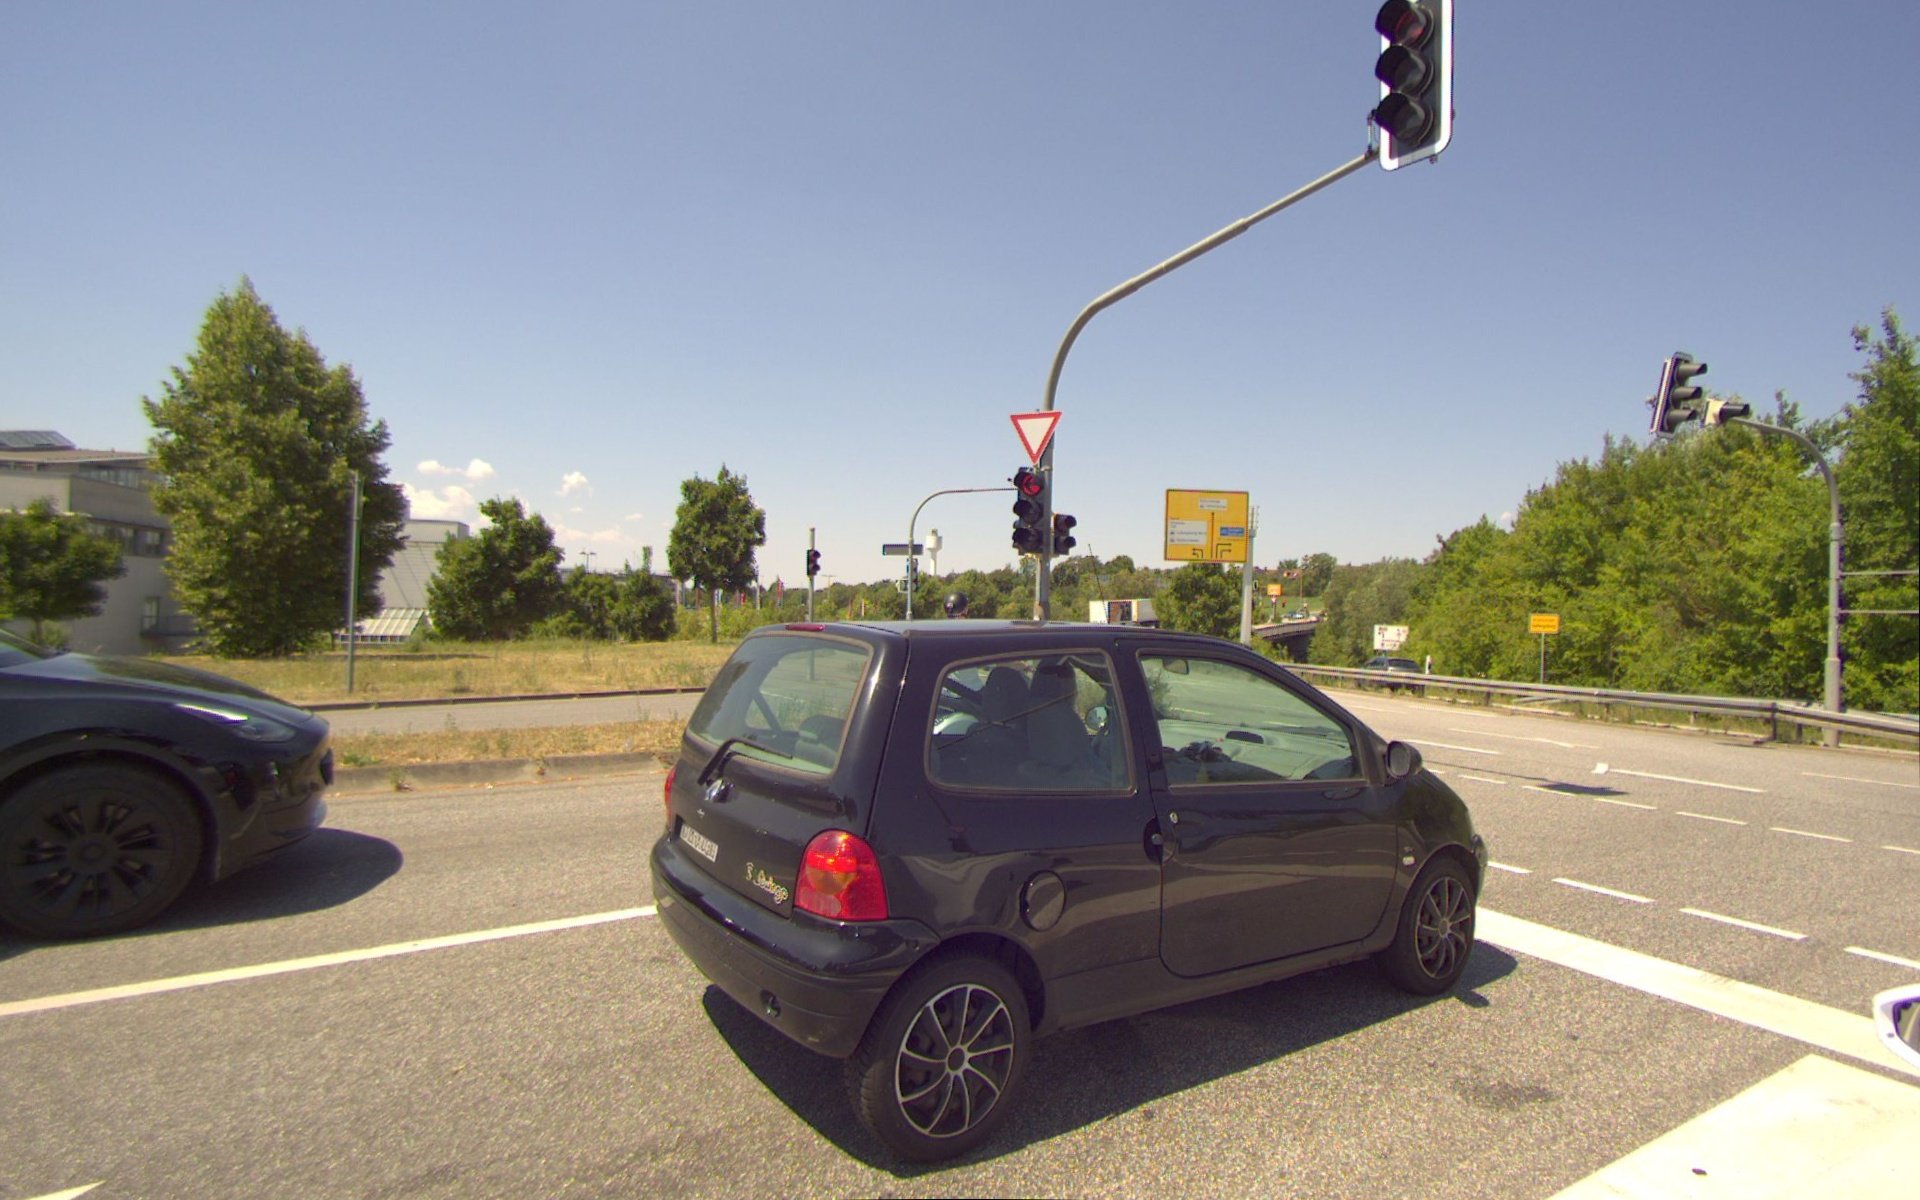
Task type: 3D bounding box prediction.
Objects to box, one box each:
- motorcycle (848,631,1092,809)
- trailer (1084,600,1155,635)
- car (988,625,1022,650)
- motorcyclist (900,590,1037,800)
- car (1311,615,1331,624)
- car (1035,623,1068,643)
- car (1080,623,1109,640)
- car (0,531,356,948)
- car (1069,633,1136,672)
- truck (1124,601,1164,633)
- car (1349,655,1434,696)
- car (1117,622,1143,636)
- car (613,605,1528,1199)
[{"bbox_3d":[0.117,0.912,7.998,1.921,1.255,0.572,3,-1,-34],"label":"motorcycle"},{"bbox_3d":[21.215,2.242,132.087,3.187,4.305,15.364,1,1,33],"label":"trailer"},{"bbox_3d":[3.418,2.833,76.048,1.847,1.755,4.003,1,-1,13],"label":"car"},{"bbox_3d":[0.069,0.725,7.975,0.838,1.560,0.607,3,0,-34],"label":"motorcyclist"},{"bbox_3d":[70.035,3.848,194.755,3.781,1.652,1.784,2,0,-37],"label":"car"},{"bbox_3d":[8.425,3.026,92.197,1.846,1.644,3.999,1,0,22],"label":"car"},{"bbox_3d":[14.481,3.373,108.000,1.898,1.687,3.996,1,1,26],"label":"car"},{"bbox_3d":[-5.111,0.505,4.034,4.462,1.622,1.862,2,0,-36],"label":"car"},{"bbox_3d":[6.097,2.235,43.367,1.778,1.452,3.924,4,-1,-7],"label":"car"},{"bbox_3d":[25.371,2.309,138.484,3.187,4.305,6.220,1,1,33],"label":"truck"},{"bbox_3d":[18.520,3.215,43.287,1.776,1.452,4.415,4,-2,2],"label":"car"},{"bbox_3d":[20.018,3.385,118.389,1.963,1.573,3.996,1,0,26],"label":"car"},{"bbox_3d":[0.547,0.779,3.899,3.267,1.426,1.609,2,-1,-34],"label":"car"}]
